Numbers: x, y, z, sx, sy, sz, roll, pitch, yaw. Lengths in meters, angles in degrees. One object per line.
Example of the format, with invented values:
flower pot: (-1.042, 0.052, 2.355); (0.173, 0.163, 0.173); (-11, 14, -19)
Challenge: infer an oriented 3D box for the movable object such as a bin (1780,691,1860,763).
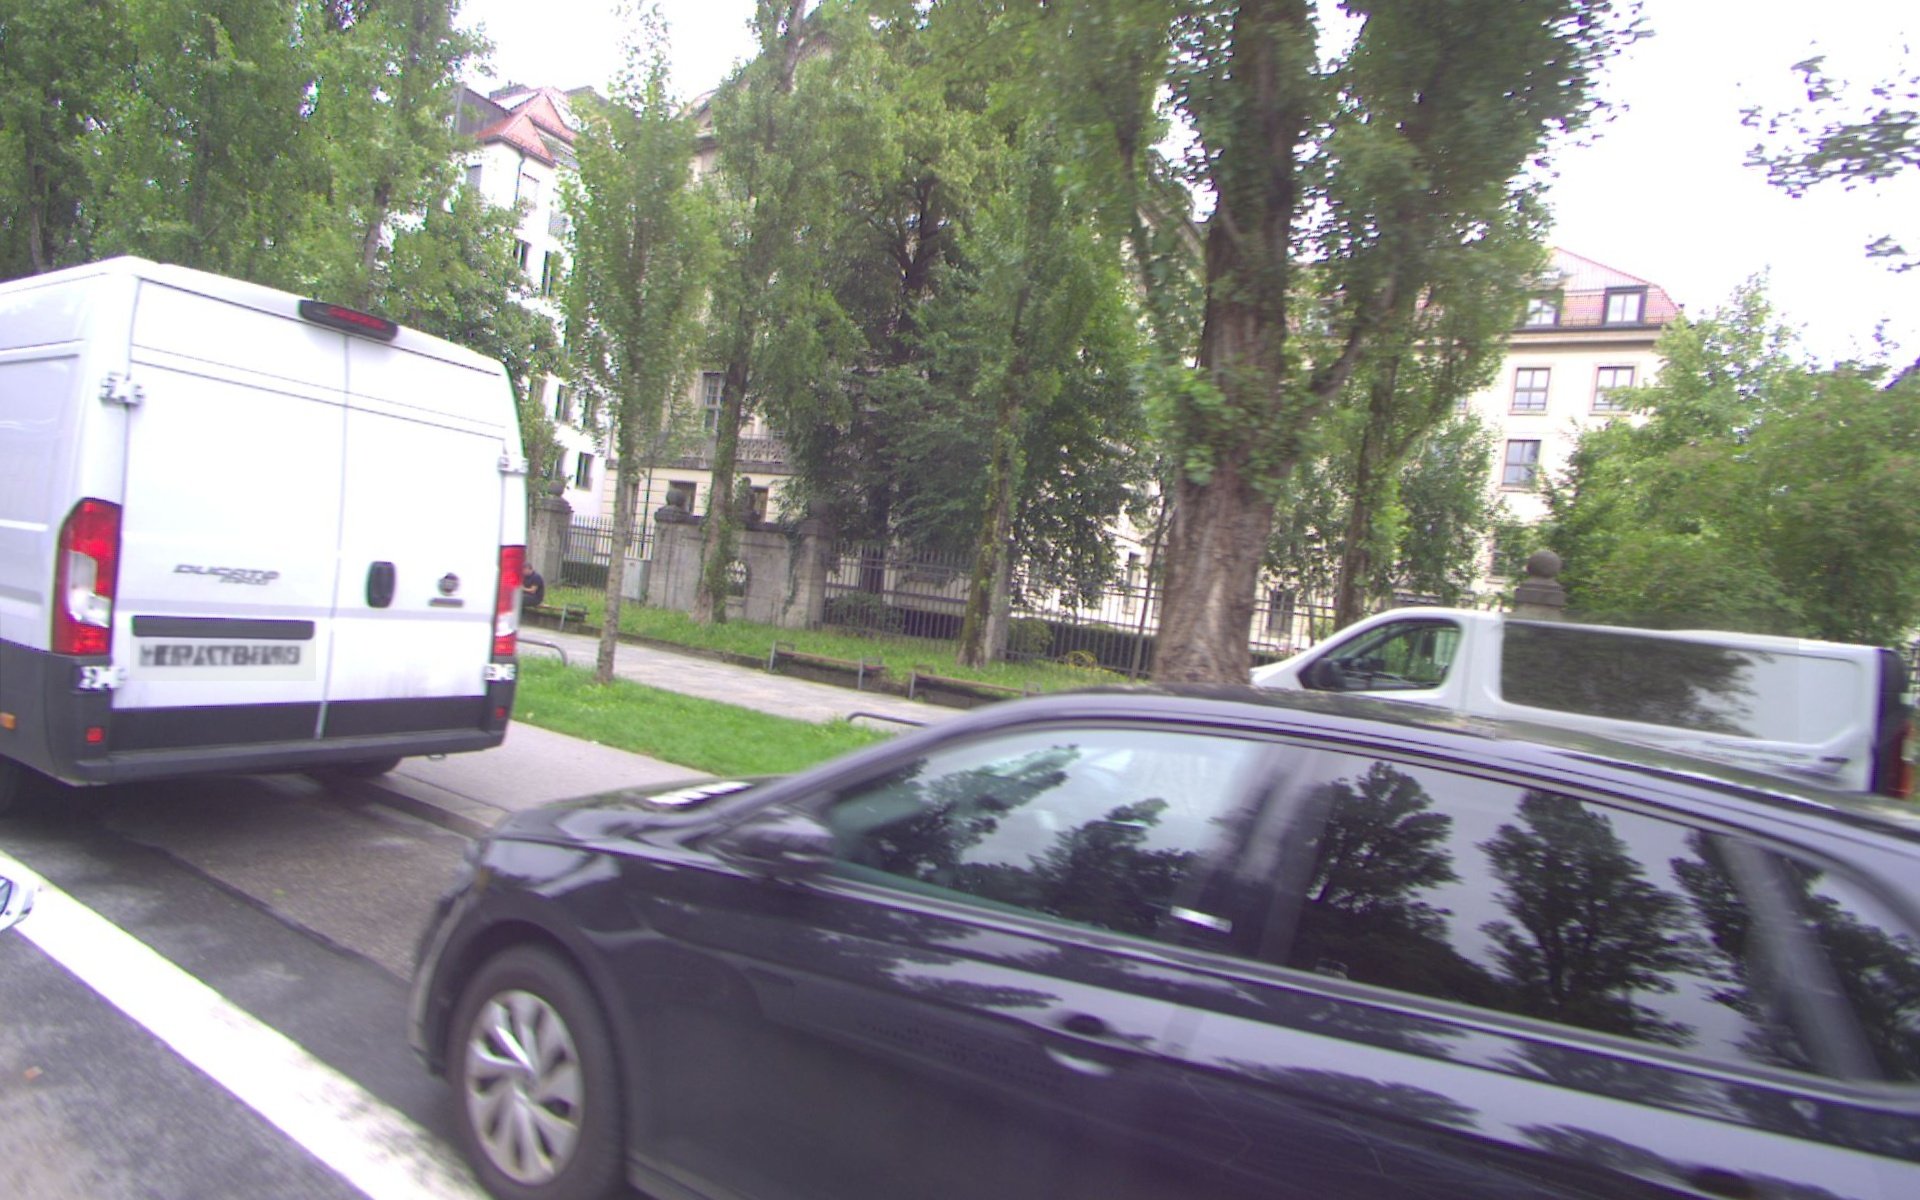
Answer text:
movable object such as a bin: (29.722, 4.332, 34.858); (1.410, 2.167, 3.672); (7, 0, 33)

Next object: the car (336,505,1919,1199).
car: (0.597, 0.792, 2.376); (3.932, 1.466, 1.759); (7, -2, 31)

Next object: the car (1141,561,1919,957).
car: (4.281, 0.979, 8.132); (4.998, 1.970, 1.996); (7, 0, 32)

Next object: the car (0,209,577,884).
car: (-5.407, -0.433, 6.186); (6.178, 2.508, 2.078); (7, -1, 31)
